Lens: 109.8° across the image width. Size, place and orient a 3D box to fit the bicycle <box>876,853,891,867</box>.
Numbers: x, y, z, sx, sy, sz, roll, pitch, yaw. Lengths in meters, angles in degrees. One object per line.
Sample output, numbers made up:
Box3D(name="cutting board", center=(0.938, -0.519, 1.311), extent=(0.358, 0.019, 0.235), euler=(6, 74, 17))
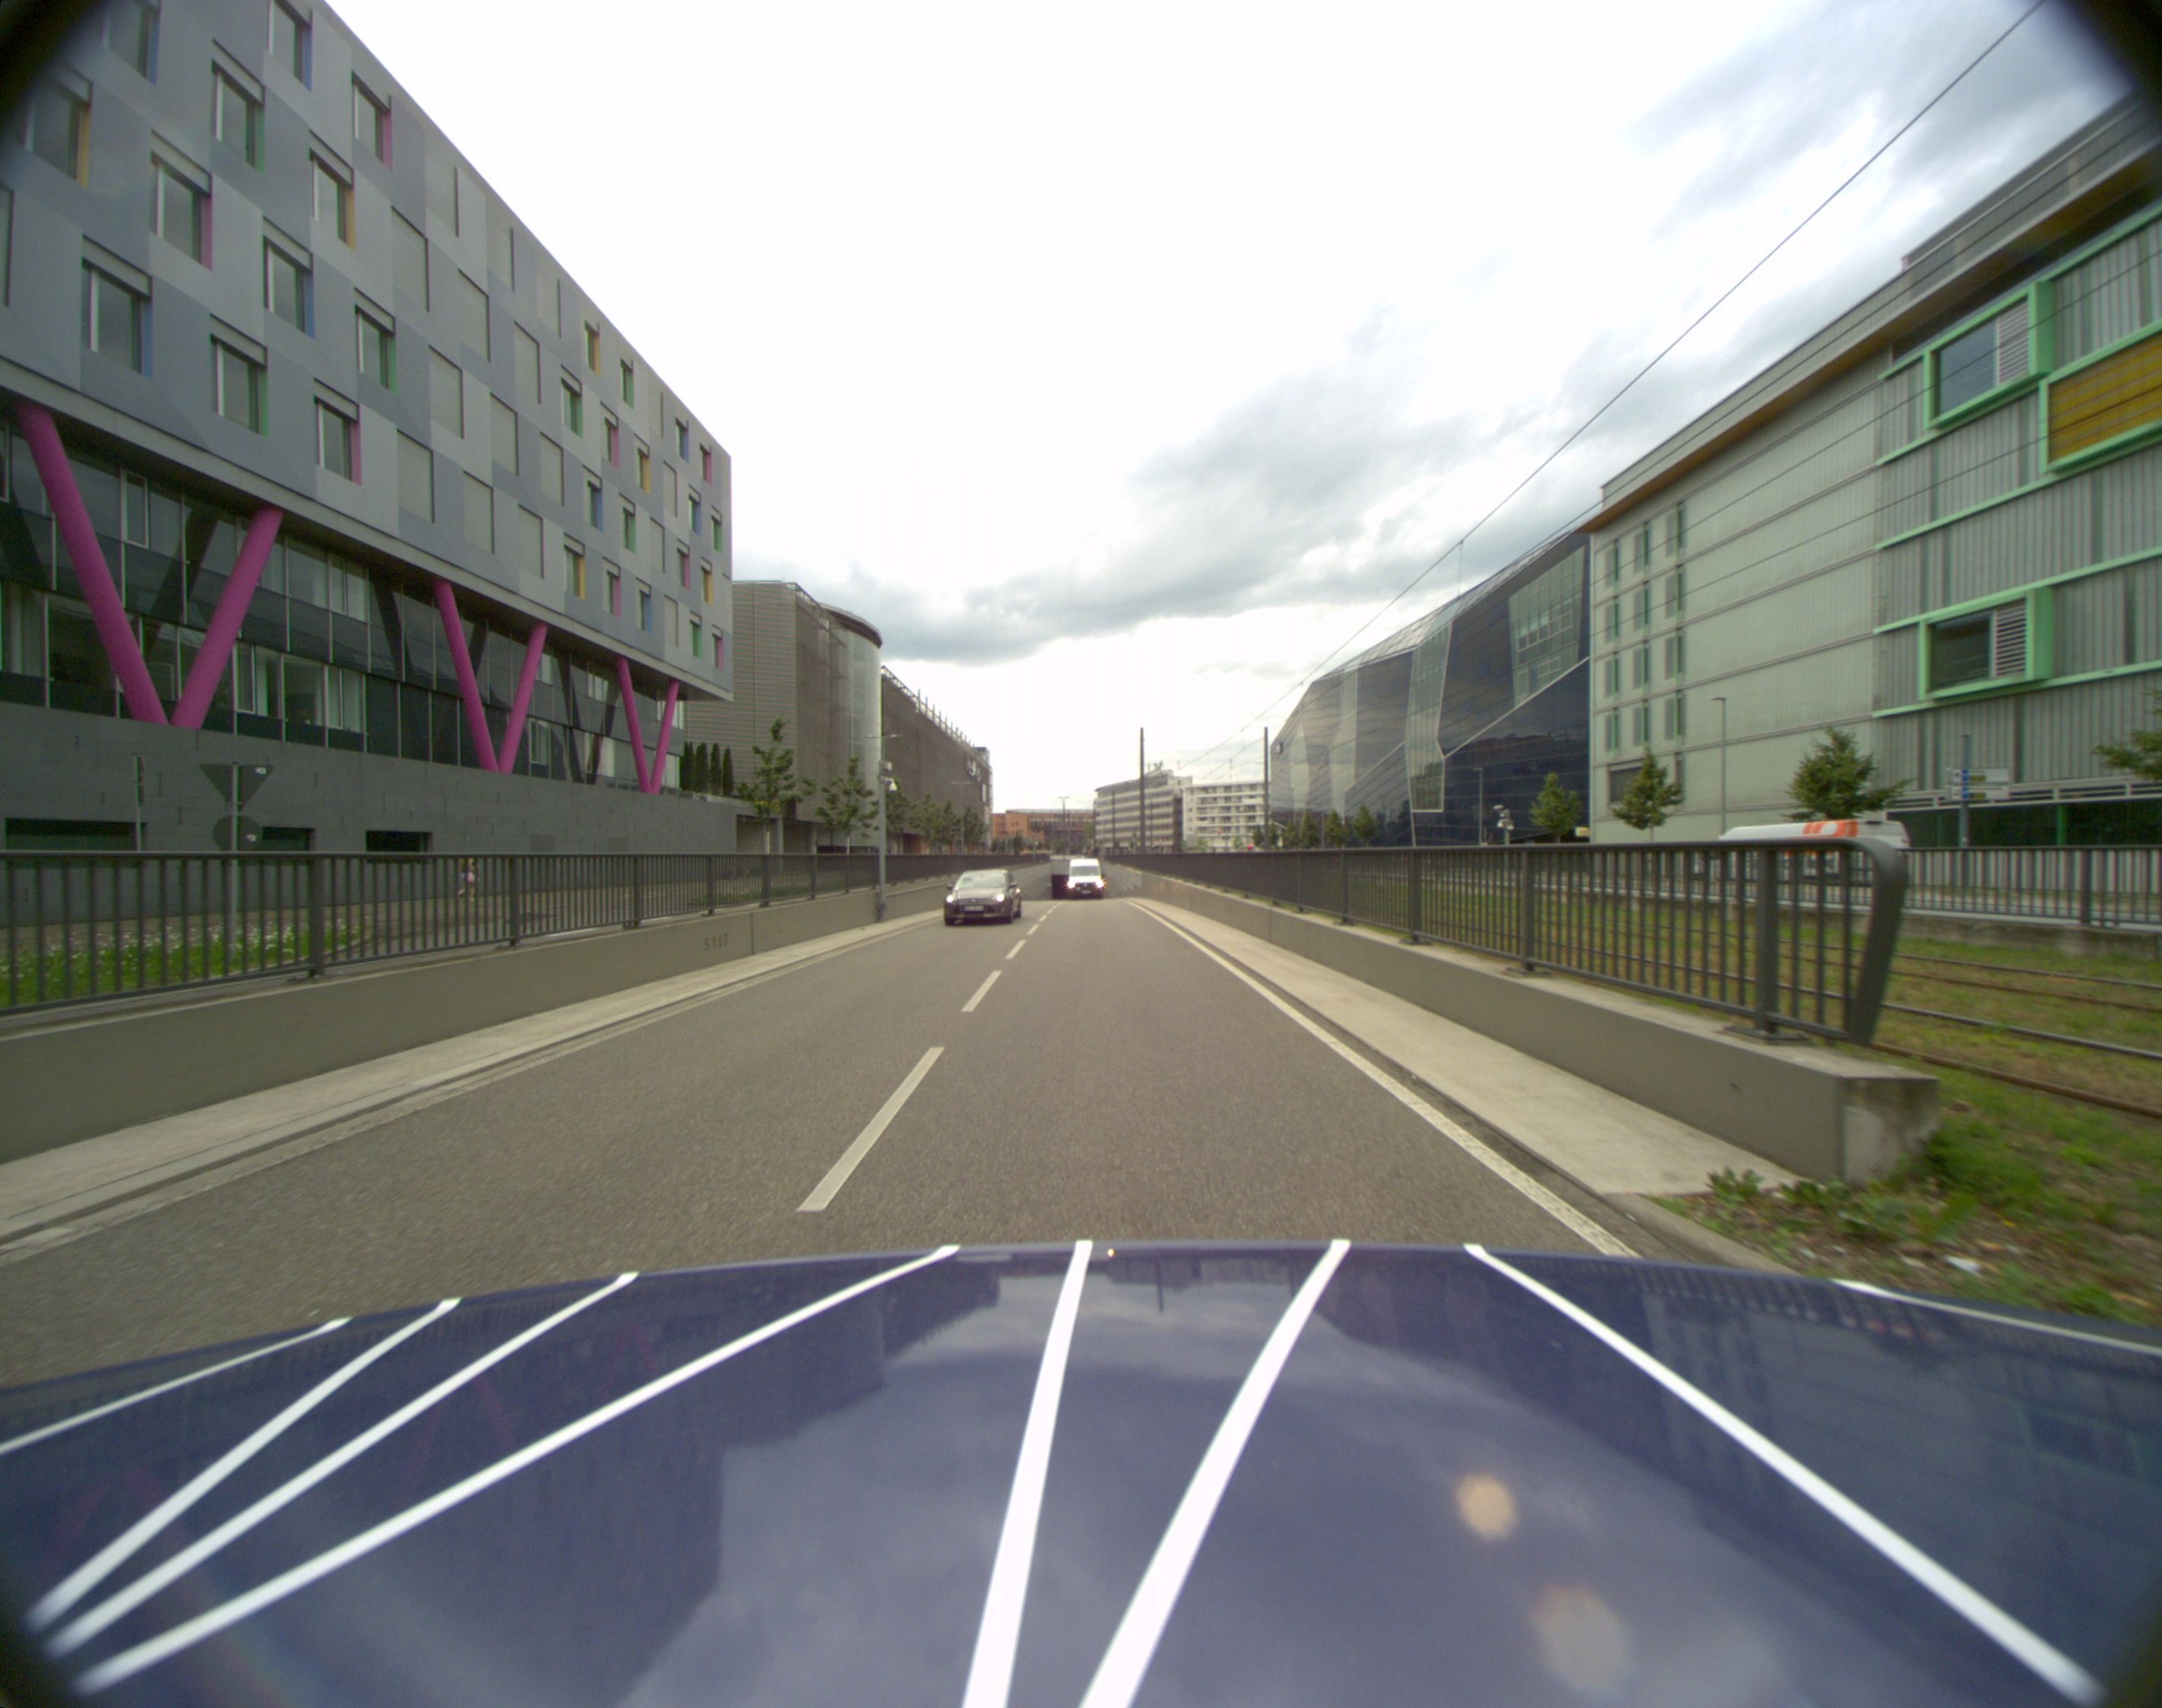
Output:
Box3D(name="bicycle", center=(-18.189, 0.606, 70.057), extent=(0.801, 1.151, 2.346), euler=(-2, -3, 0))

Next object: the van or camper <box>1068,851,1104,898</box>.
Box3D(name="van or camper", center=(0.317, 1.329, 46.856), extent=(2.043, 2.570, 5.045), euler=(-1, -4, 0))

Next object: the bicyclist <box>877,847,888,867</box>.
Box3D(name="bicyclist", center=(-18.196, 0.251, 69.789), extent=(0.784, 1.791, 0.705), euler=(-2, -3, 0))

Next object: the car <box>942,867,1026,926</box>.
Box3D(name="car", center=(-2.652, 1.178, 21.696), extent=(1.752, 1.490, 4.270), euler=(-1, -2, 1))

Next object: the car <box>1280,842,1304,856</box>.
Box3D(name="car", center=(26.514, -0.639, 95.616), extent=(1.998, 1.583, 4.768), euler=(-1, -1, 3))

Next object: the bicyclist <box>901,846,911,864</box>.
Box3D(name="bicyclist", center=(-17.705, 0.117, 76.890), extent=(0.784, 1.792, 0.705), euler=(-2, 0, 0))

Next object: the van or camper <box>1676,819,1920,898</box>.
Box3D(name="van or camper", center=(23.678, 0.114, 25.653), extent=(2.178, 2.273, 6.506), euler=(-2, 0, 1))

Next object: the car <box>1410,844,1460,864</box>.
Box3D(name="car", center=(30.781, 0.026, 66.220), extent=(1.999, 1.583, 4.767), euler=(-1, -1, -1))

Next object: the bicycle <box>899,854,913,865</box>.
Box3D(name="bicycle", center=(-17.686, 0.546, 76.950), extent=(0.801, 1.151, 2.345), euler=(-2, 0, 0))
